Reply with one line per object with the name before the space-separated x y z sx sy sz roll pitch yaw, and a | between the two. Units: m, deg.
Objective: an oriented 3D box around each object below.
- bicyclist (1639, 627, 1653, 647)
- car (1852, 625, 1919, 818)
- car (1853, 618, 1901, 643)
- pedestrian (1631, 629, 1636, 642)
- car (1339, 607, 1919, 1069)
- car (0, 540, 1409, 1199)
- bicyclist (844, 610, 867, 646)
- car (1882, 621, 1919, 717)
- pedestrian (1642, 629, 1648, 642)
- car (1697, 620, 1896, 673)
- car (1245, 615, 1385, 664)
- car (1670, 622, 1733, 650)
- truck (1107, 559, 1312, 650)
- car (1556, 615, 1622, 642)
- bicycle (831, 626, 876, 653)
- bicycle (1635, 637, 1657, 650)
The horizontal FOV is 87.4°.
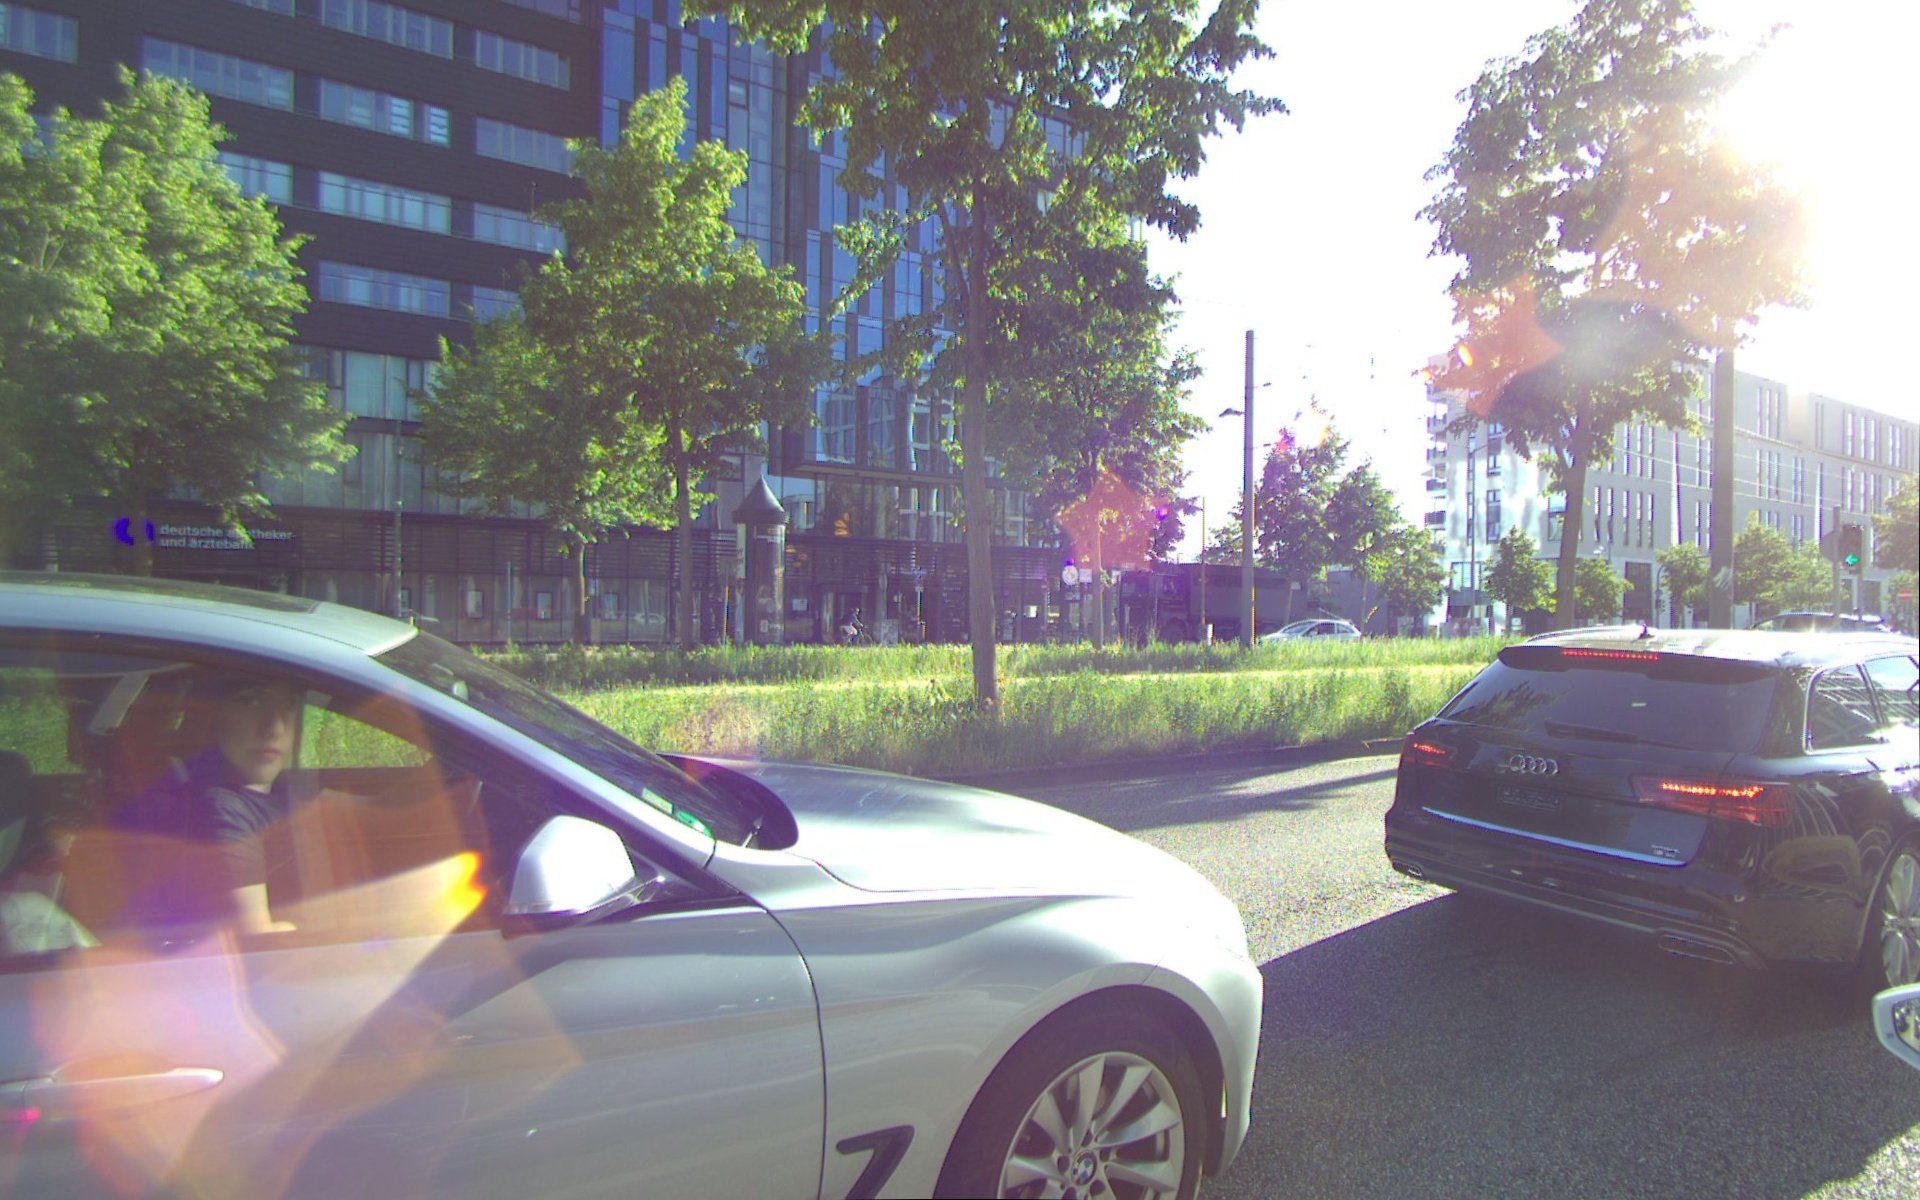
bicyclist | 52.574 2.851 76.994 0.706 1.549 0.674 1 0 -30
car | 9.313 0.957 8.189 4.288 1.445 1.833 1 -1 -30
car | 78.100 2.581 85.529 3.953 2.040 1.984 1 -1 -30
pedestrian | 55.243 2.899 82.377 0.257 1.100 0.252 1 0 -30
car | 4.416 0.832 5.379 4.911 1.504 1.864 1 -1 -32
car | -1.294 0.694 2.050 4.509 1.504 1.810 1 -1 -31
bicyclist | -4.182 1.123 40.185 0.811 1.443 0.475 1 -1 -30
car | 17.152 1.131 16.684 4.164 1.512 1.508 1 -1 -29
pedestrian | 55.727 2.895 81.721 0.286 1.100 0.252 1 0 -30
car | 25.562 1.373 30.920 1.774 1.467 4.555 1 -1 -14
car | 12.273 1.359 34.686 4.505 1.503 1.794 2 2 -24
car | 51.472 2.503 69.683 4.319 1.838 1.984 1 -1 -30
truck | 11.698 0.294 46.503 10.094 3.904 2.877 1 -1 -31
car | 37.533 1.677 59.909 3.953 1.540 1.756 1 -1 -30
bicycle | -4.251 1.582 40.153 1.735 1.049 0.475 1 -1 -31
bicycle | 52.616 3.316 77.014 1.933 1.001 0.673 1 -1 -31
